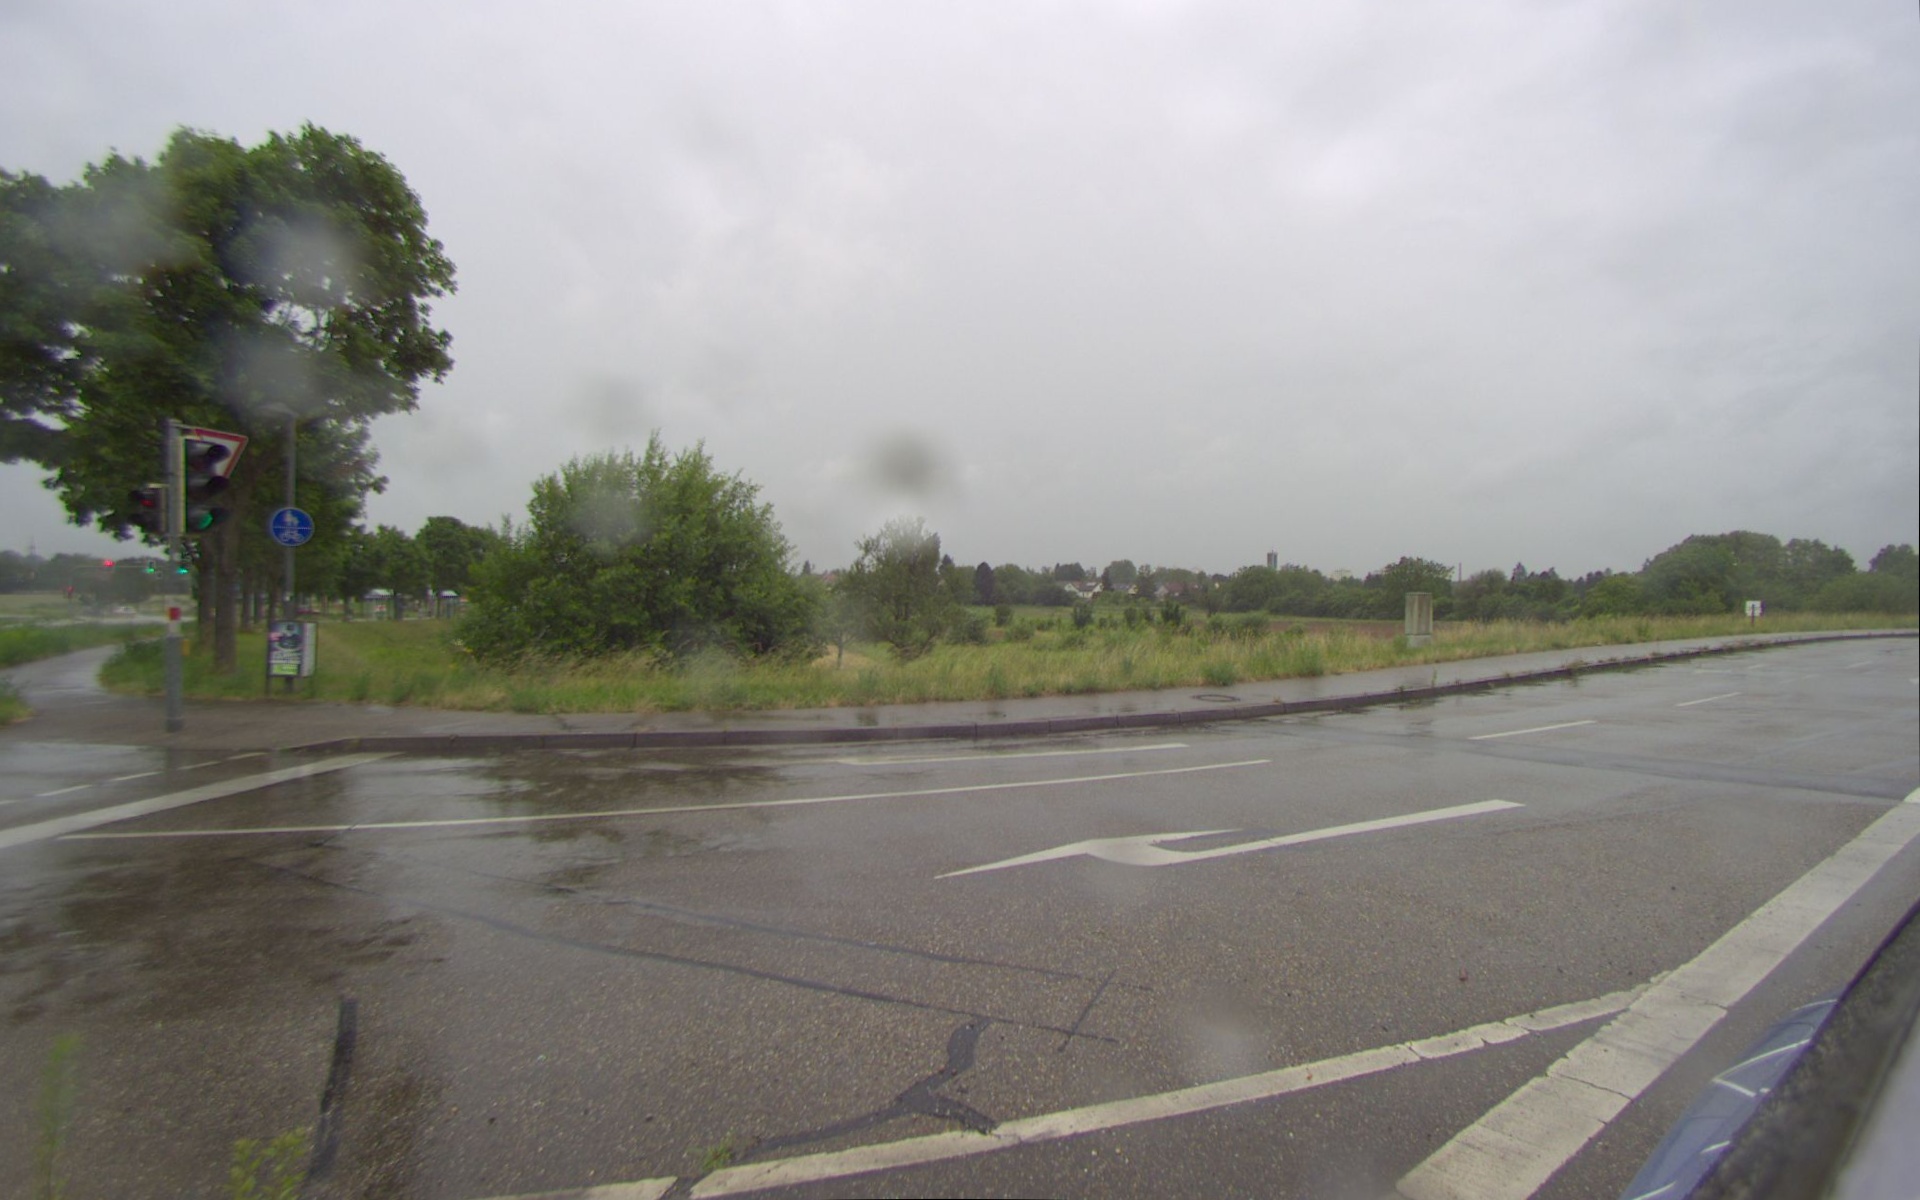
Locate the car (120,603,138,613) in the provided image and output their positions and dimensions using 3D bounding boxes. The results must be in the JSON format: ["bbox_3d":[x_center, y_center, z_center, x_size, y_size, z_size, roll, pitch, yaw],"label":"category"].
[{"bbox_3d":[-122.810,1.224,149.591,1.845,1.371,4.050,0,1,-37],"label":"car"}]
